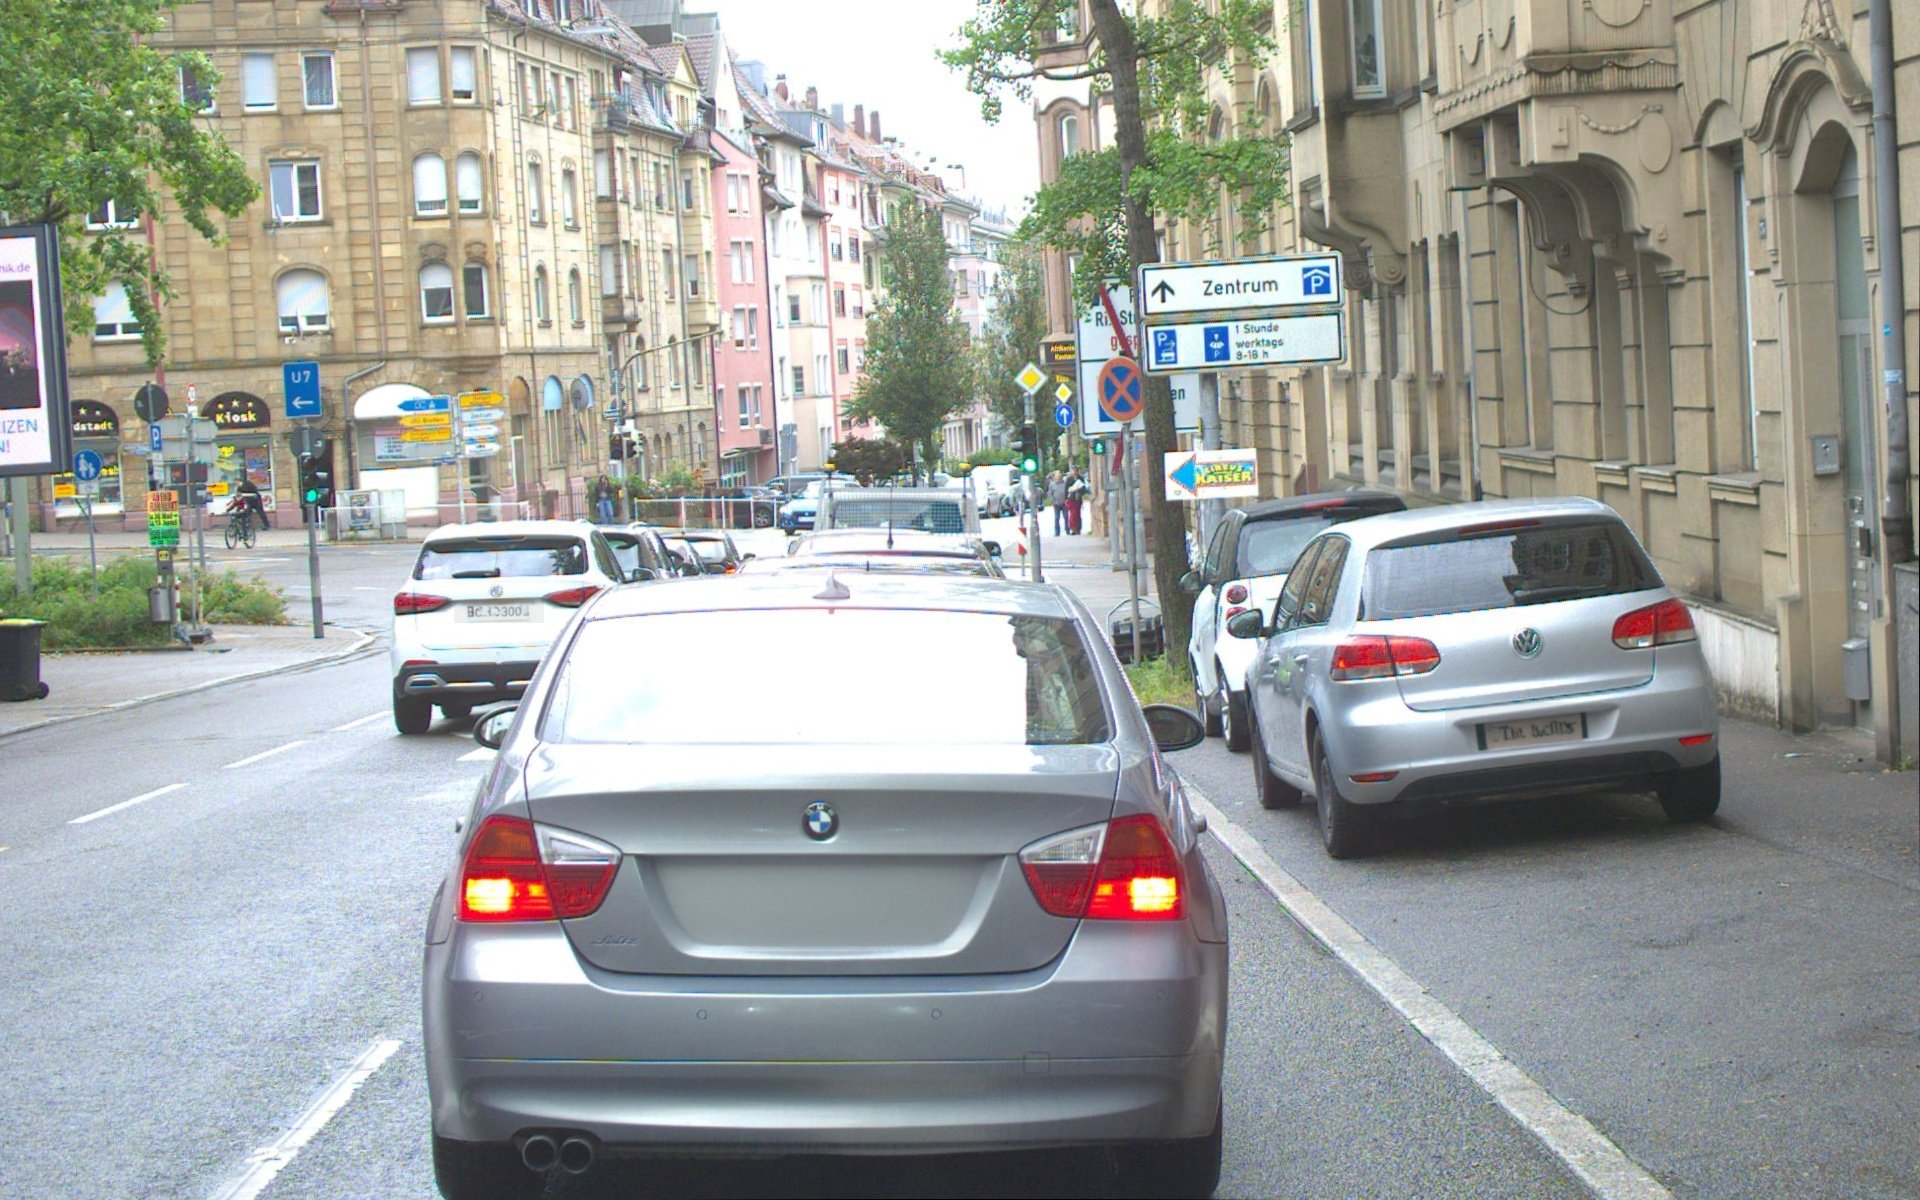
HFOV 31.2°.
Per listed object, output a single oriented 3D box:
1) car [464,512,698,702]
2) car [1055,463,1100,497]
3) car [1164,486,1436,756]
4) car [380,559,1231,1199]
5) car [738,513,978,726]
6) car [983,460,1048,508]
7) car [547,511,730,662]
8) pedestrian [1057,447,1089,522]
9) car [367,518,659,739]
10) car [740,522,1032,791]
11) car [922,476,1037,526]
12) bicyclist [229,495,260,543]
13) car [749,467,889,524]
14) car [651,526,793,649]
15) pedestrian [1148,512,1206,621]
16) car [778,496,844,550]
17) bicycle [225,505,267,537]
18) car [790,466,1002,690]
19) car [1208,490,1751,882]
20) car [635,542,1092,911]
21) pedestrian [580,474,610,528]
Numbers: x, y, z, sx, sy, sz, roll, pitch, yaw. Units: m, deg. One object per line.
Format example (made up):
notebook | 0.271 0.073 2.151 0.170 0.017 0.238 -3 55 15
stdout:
car | -3.595 0.016 33.241 1.759 1.702 4.000 -1 1 1
car | 4.369 -4.461 127.865 1.434 1.170 3.435 1 1 -2
car | 2.185 0.095 22.675 1.299 1.537 2.976 -6 1 -1
car | -0.278 0.626 8.432 1.623 1.378 3.615 -1 1 1
car | -0.750 0.095 27.707 1.759 1.562 4.000 -1 1 1
car | 1.972 -4.072 120.800 1.994 1.573 3.999 1 1 5
car | -3.791 -0.207 41.123 1.759 1.702 4.000 -1 1 1
pedestrian | 2.910 -2.988 88.674 0.742 1.903 0.659 -2 1 -1
car | -3.510 0.167 27.687 1.868 1.620 4.000 -1 1 -1
car | -0.387 0.263 20.836 1.595 1.459 4.000 0 1 1
car | 0.670 -3.264 113.811 1.997 1.573 3.993 1 1 32
bicyclist | -19.471 -2.201 93.571 0.569 1.268 0.689 1 0 11
car | -5.304 -3.930 129.887 5.176 2.007 2.699 1 0 -1
car | -3.479 -0.219 50.770 1.759 1.702 4.000 -1 1 1
pedestrian | 3.128 -0.491 49.645 0.631 1.503 0.693 -6 1 -1
car | -4.171 -2.175 96.865 1.715 1.445 3.743 -2 1 -1
bicycle | -19.449 -2.145 93.667 0.573 0.855 1.521 1 1 11
car | -0.627 -0.240 34.527 1.993 2.099 4.000 0 1 -1
car | 2.301 0.312 16.263 1.759 1.446 4.000 -6 1 -1
car | -0.355 0.459 15.378 1.759 1.378 4.000 -1 1 1
pedestrian | -10.739 -2.921 101.130 0.732 1.572 0.528 -2 1 8
